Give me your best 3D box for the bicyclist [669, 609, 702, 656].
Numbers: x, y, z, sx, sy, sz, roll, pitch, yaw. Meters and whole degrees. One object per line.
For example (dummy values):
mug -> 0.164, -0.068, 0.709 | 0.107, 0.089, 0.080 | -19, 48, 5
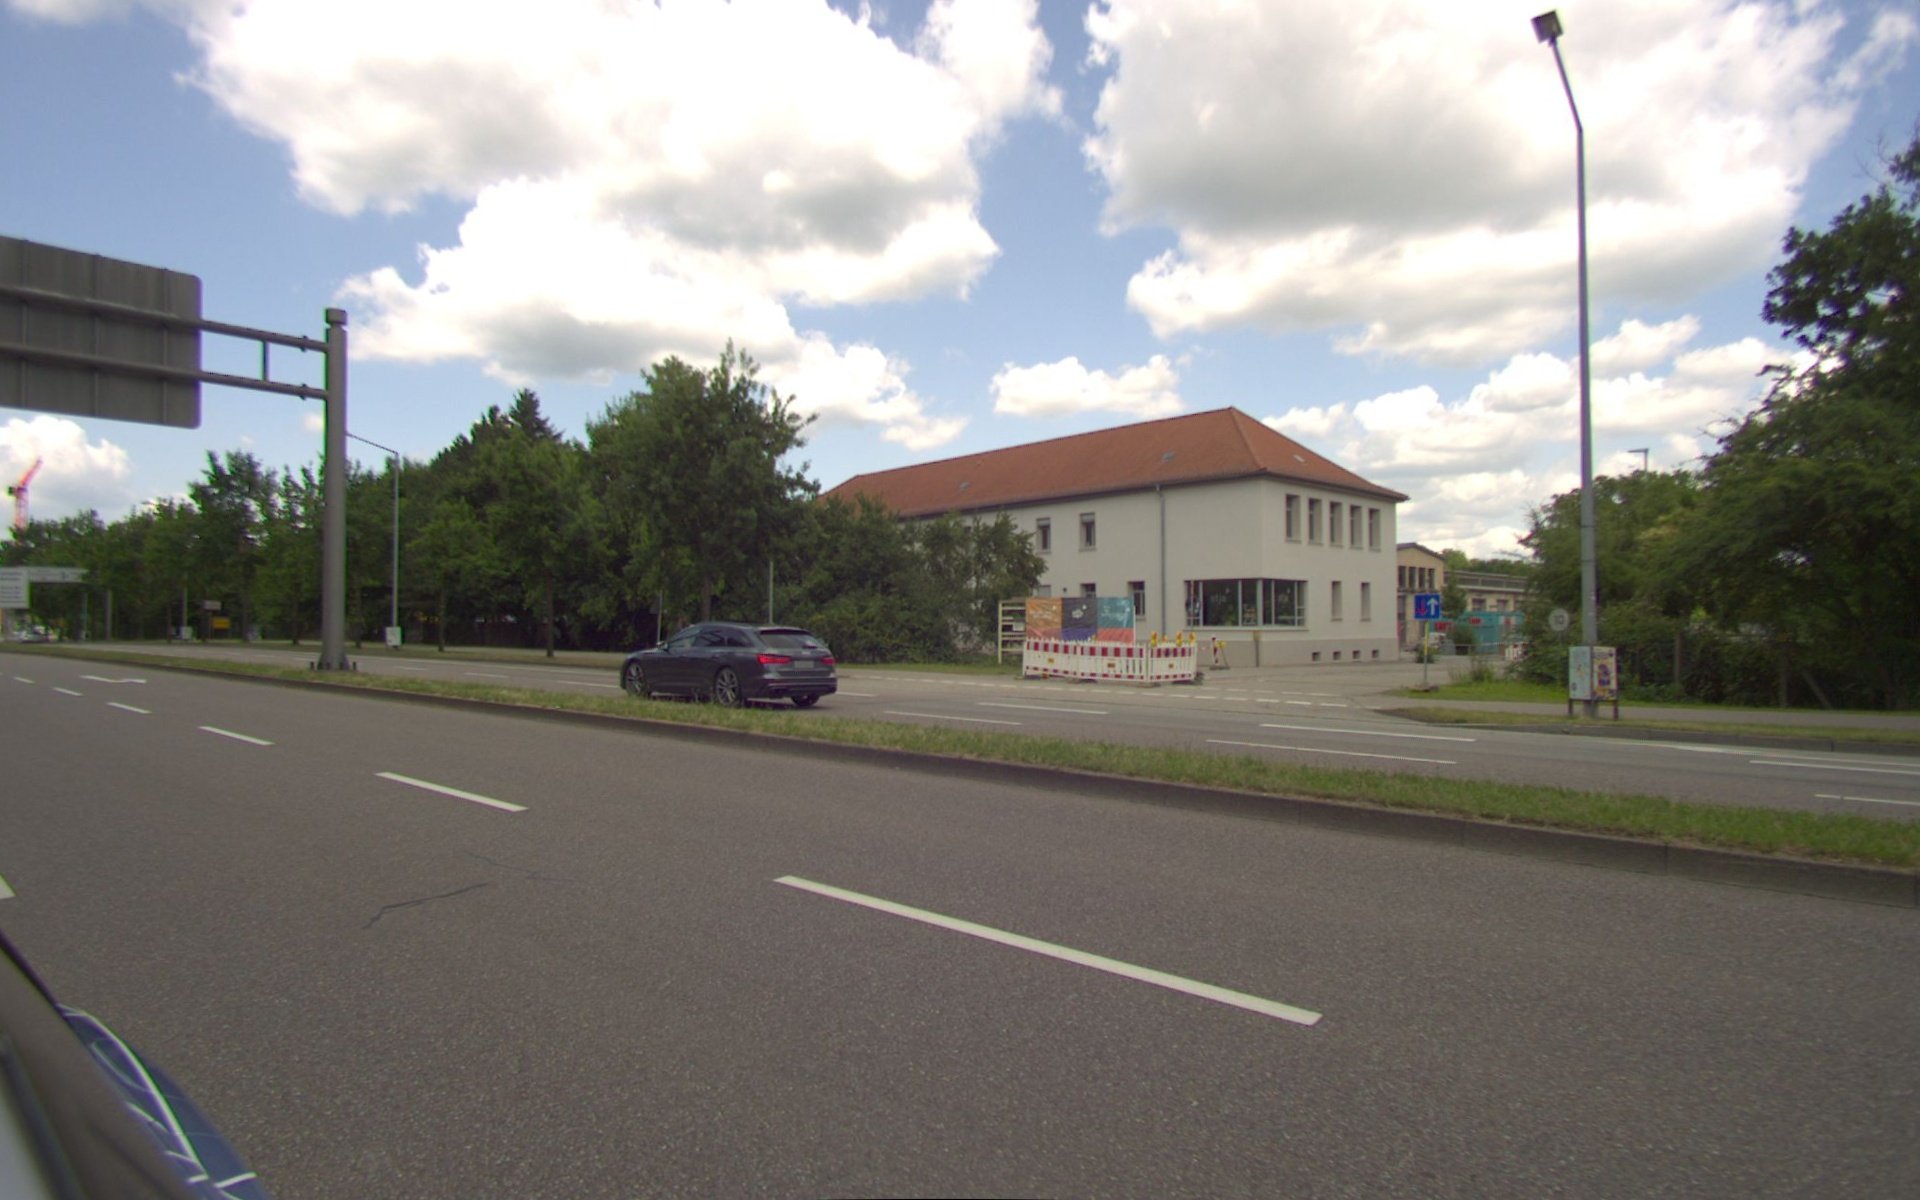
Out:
bicyclist -> -10.065, 1.192, 37.109 | 0.979, 1.671, 0.731 | -1, -2, 36

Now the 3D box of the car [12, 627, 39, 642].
car -> -95.196, 3.518, 103.079 | 3.696, 1.507, 1.691 | -2, -2, 41

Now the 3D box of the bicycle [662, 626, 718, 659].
bicycle -> -9.854, 1.538, 36.937 | 2.254, 1.170, 0.743 | -1, -2, 37

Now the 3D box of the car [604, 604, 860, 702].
car -> -4.176, 0.880, 18.099 | 4.906, 1.528, 1.939 | -1, -2, 41
